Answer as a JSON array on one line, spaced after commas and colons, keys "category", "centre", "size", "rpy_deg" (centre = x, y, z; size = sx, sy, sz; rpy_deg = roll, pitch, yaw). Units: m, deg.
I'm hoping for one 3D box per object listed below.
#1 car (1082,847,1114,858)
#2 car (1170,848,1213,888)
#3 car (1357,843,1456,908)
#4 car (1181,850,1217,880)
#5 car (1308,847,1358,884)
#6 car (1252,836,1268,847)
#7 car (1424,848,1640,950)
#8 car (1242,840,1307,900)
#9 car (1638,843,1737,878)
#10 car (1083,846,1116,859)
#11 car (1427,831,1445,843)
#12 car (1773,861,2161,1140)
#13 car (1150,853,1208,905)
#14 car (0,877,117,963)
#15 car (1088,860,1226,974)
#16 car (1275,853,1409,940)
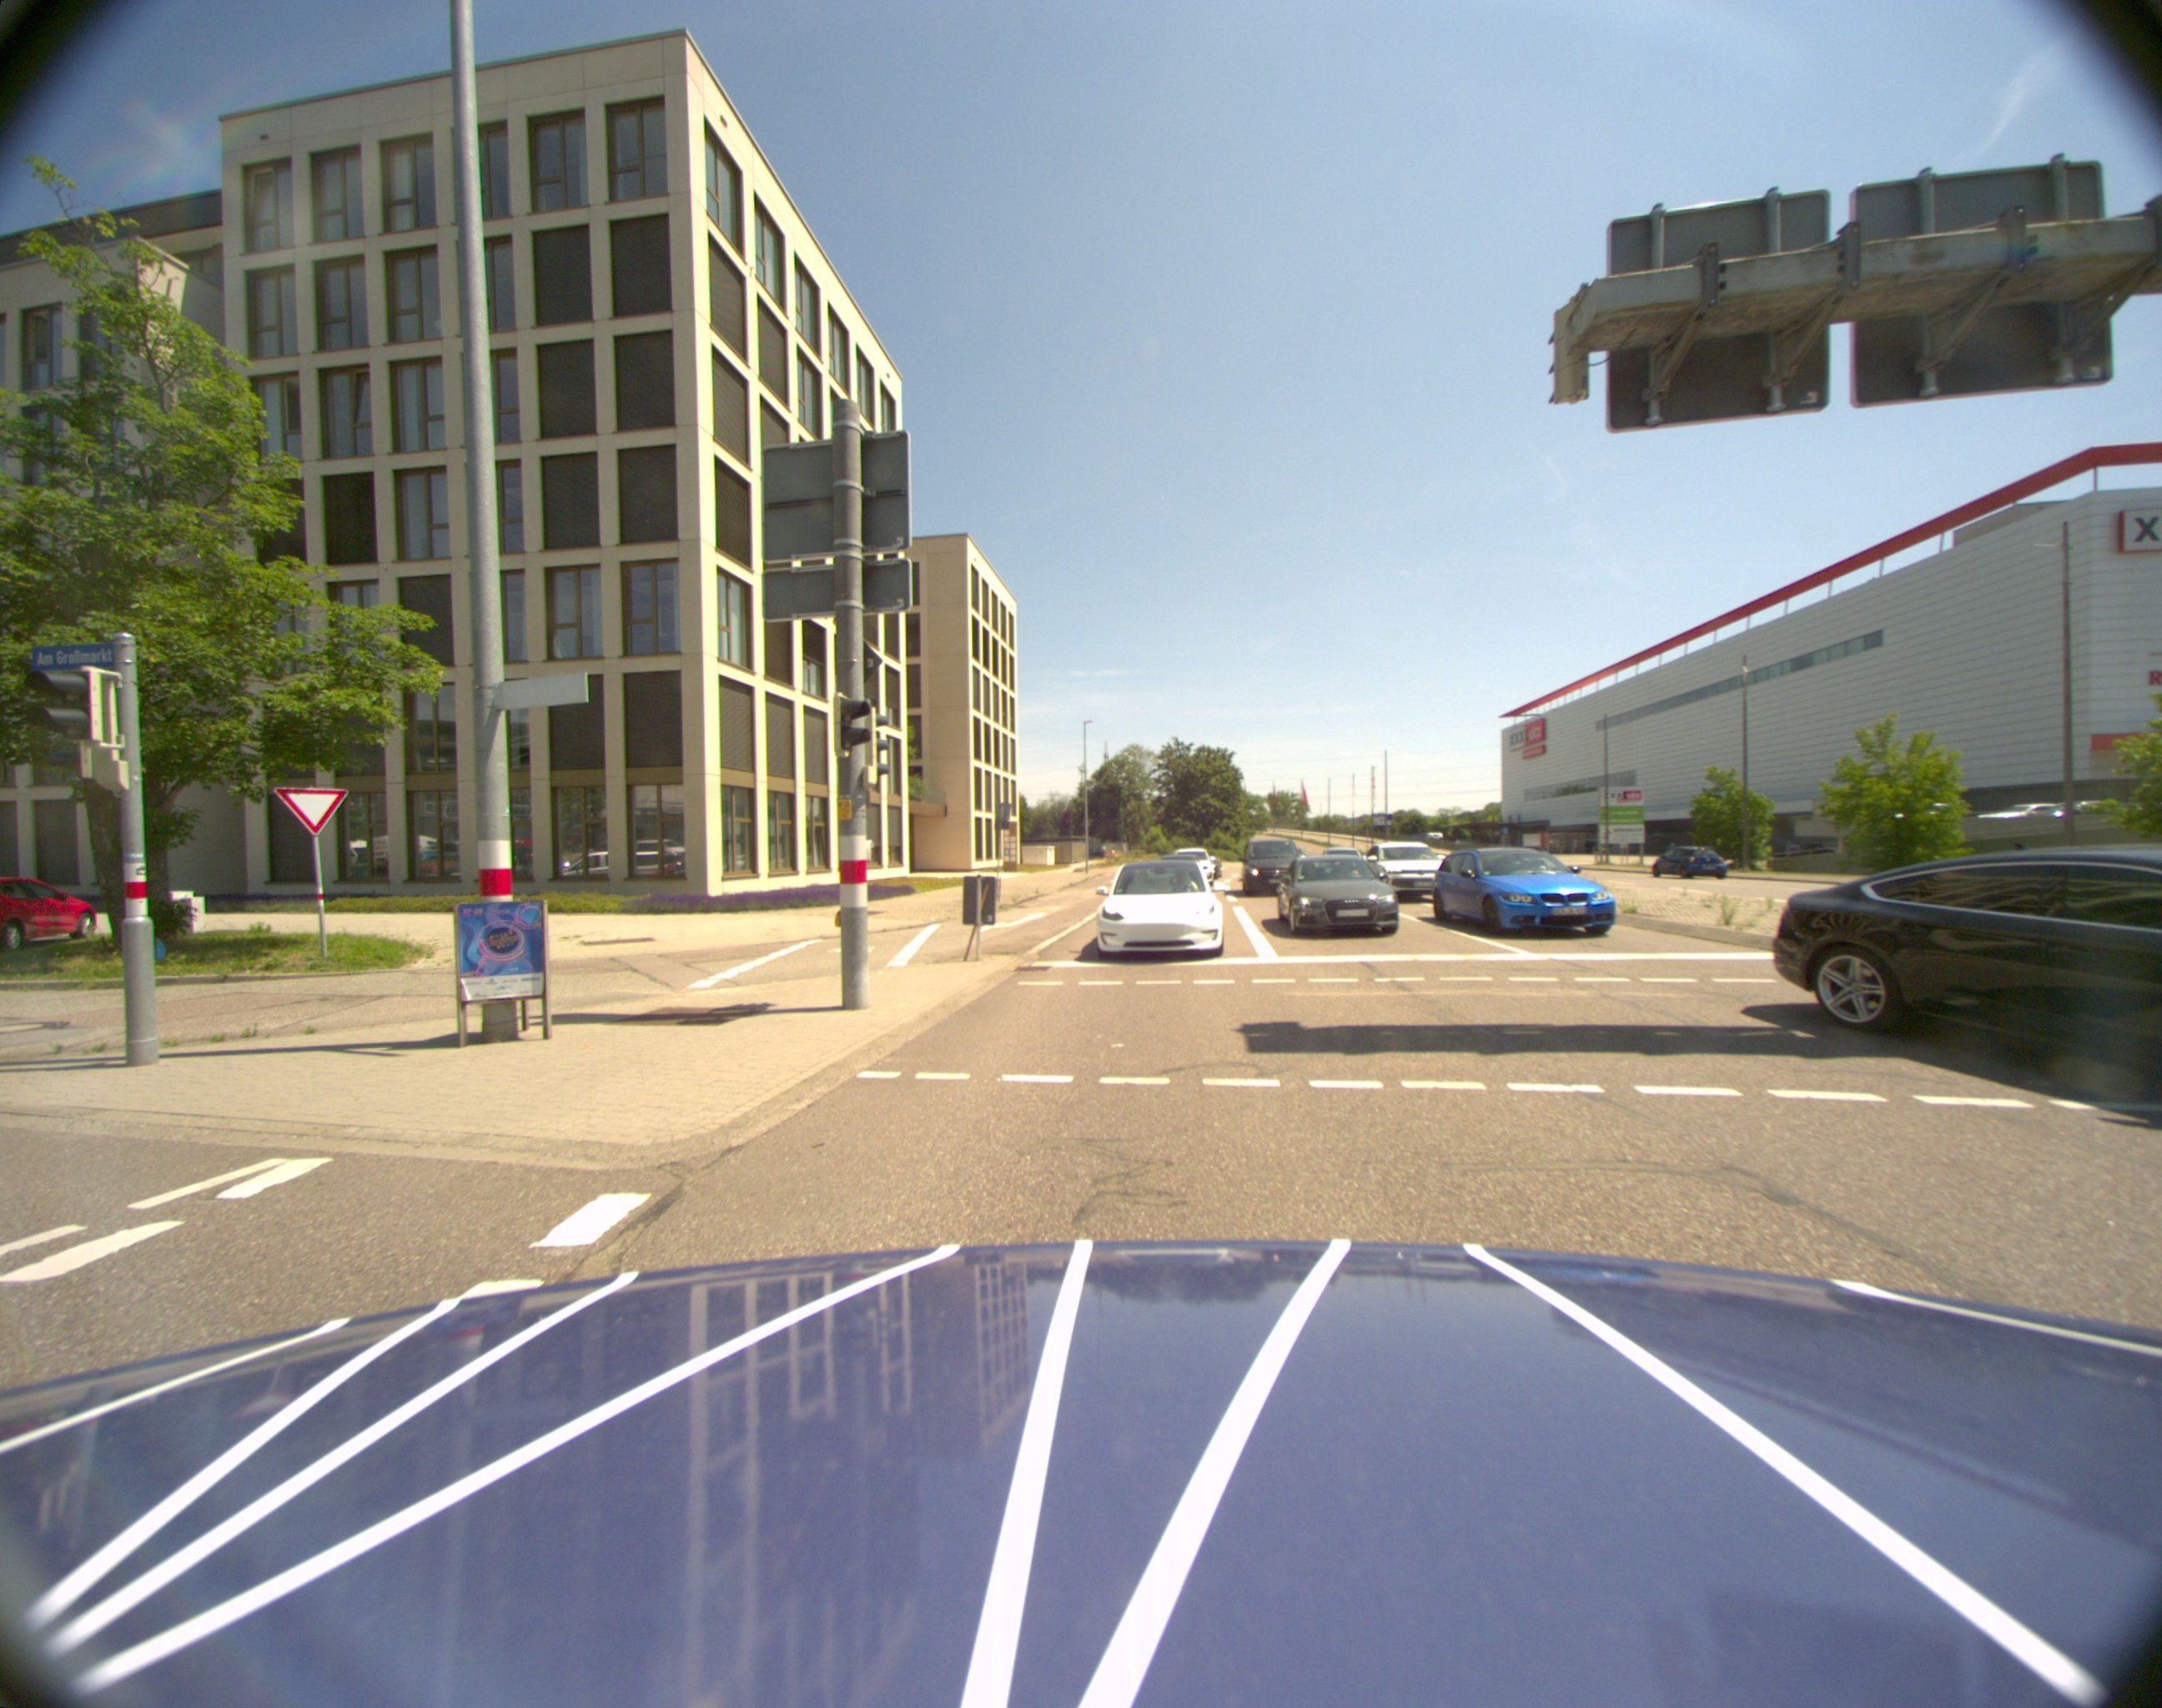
[{"category": "car", "centre": [2.191, -0.175, 97.150], "size": [3.831, 1.386, 1.737], "rpy_deg": [-1, 1, -6]}, {"category": "car", "centre": [4.903, 0.581, 33.722], "size": [1.777, 1.600, 3.822], "rpy_deg": [-1, 2, 8]}, {"category": "car", "centre": [9.197, 0.539, 21.854], "size": [1.768, 1.632, 4.495], "rpy_deg": [-2, 0, 12]}, {"category": "car", "centre": [6.266, 0.555, 40.185], "size": [1.768, 1.395, 3.953], "rpy_deg": [-1, 1, 10]}, {"category": "car", "centre": [10.757, 0.465, 32.300], "size": [1.767, 1.414, 3.905], "rpy_deg": [-2, 0, 21]}, {"category": "car", "centre": [32.876, -2.354, 139.881], "size": [1.913, 2.002, 3.989], "rpy_deg": [-1, 1, 0]}, {"category": "car", "centre": [7.730, 0.664, 13.581], "size": [1.768, 1.395, 4.433], "rpy_deg": [-2, 1, 9]}, {"category": "car", "centre": [6.571, 0.460, 26.109], "size": [1.894, 1.811, 4.840], "rpy_deg": [-2, 1, 13]}, {"category": "car", "centre": [29.122, 0.265, 36.675], "size": [1.997, 1.587, 4.002], "rpy_deg": [-1, 1, 9]}, {"category": "car", "centre": [2.297, -0.223, 95.160], "size": [3.831, 1.543, 1.737], "rpy_deg": [-1, 1, -6]}, {"category": "car", "centre": [72.046, -3.472, 154.064], "size": [2.190, 2.270, 4.817], "rpy_deg": [-1, 1, 11]}, {"category": "car", "centre": [6.518, 0.791, 4.114], "size": [1.675, 1.396, 4.467], "rpy_deg": [-1, 0, 4]}, {"category": "car", "centre": [3.290, 0.772, 24.914], "size": [1.555, 1.528, 3.824], "rpy_deg": [-1, 1, 12]}, {"category": "car", "centre": [-21.468, 1.276, 14.976], "size": [1.702, 1.424, 3.989], "rpy_deg": [-2, 2, -31]}, {"category": "car", "centre": [1.342, 0.893, 12.597], "size": [1.822, 1.428, 4.286], "rpy_deg": [-3, 1, 8]}, {"category": "car", "centre": [4.796, 0.699, 14.512], "size": [1.768, 1.374, 4.092], "rpy_deg": [-1, 1, 9]}]
